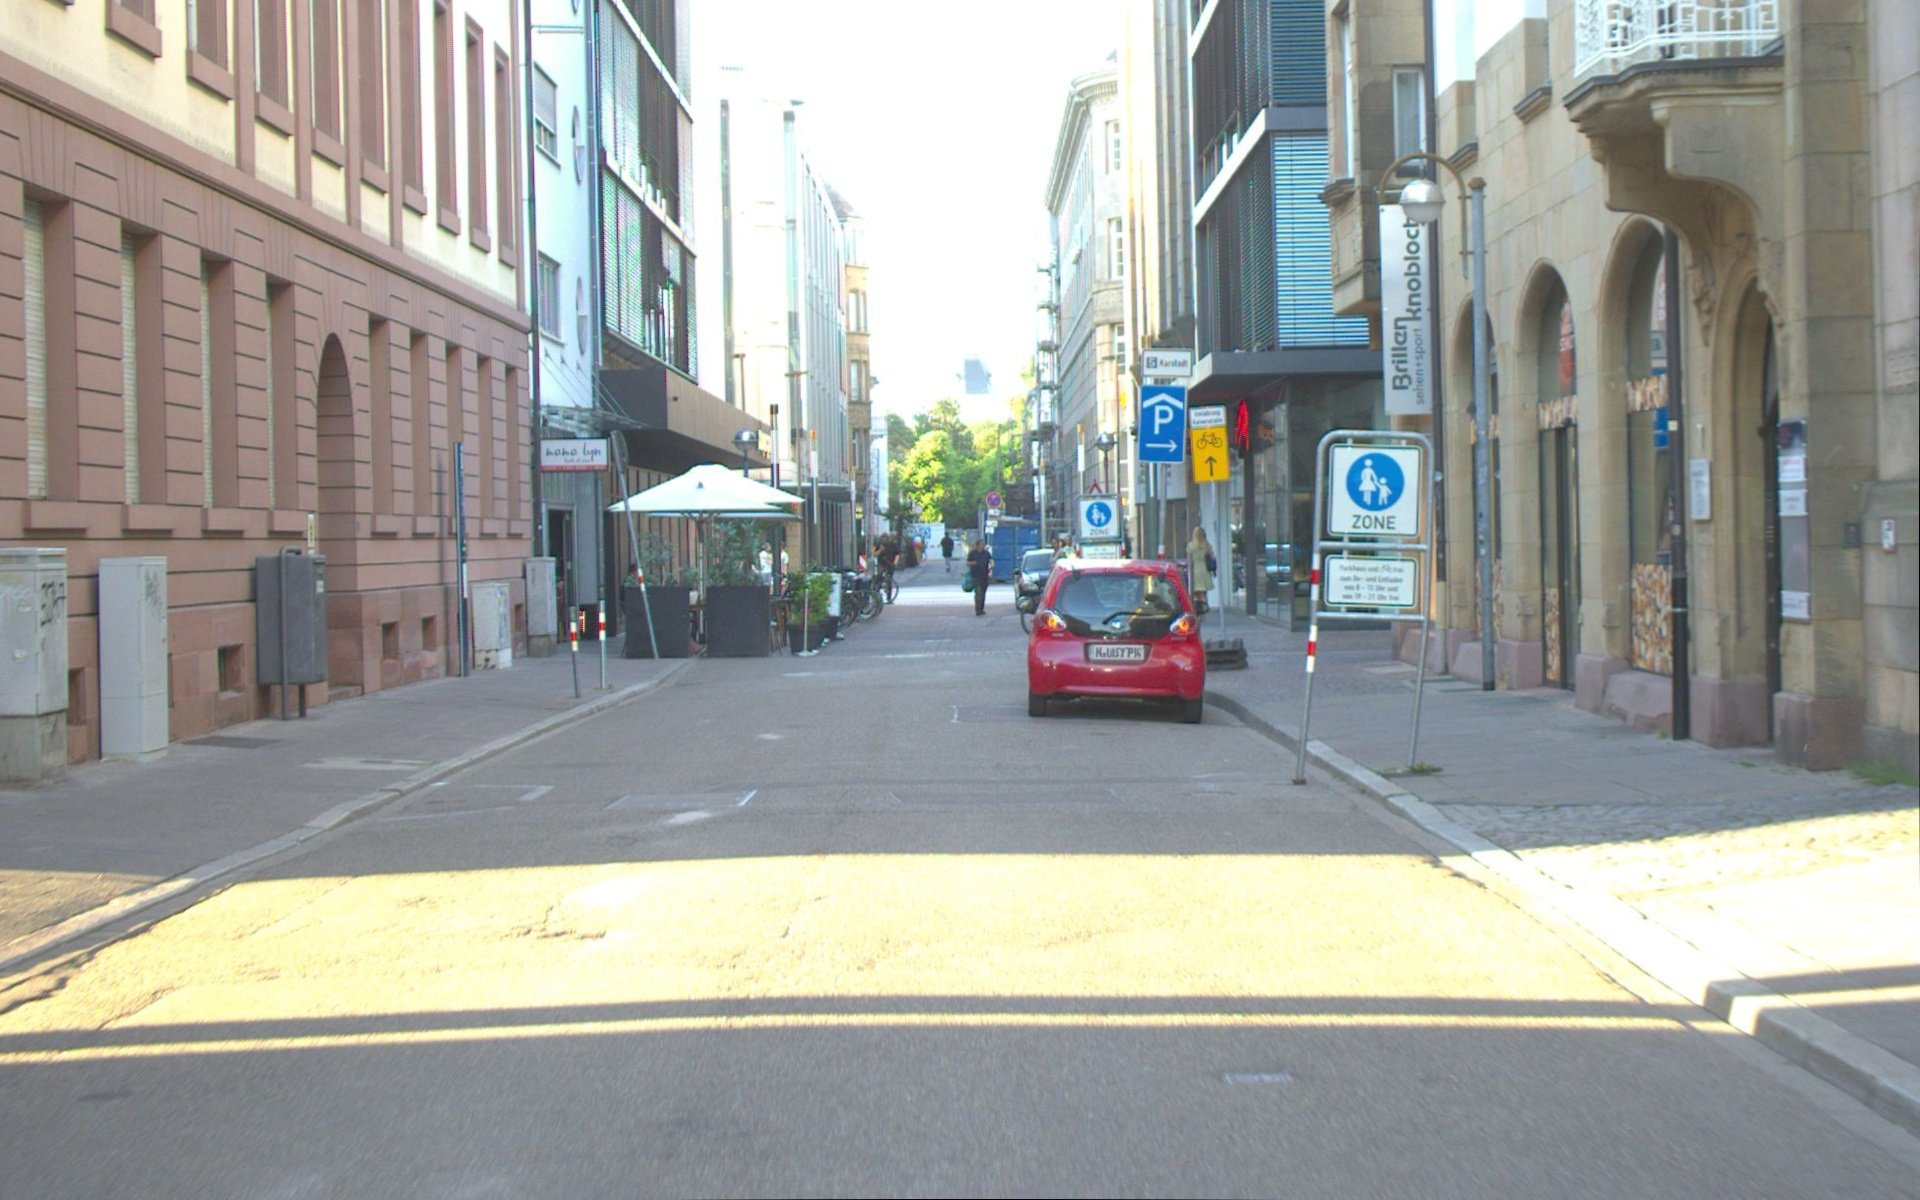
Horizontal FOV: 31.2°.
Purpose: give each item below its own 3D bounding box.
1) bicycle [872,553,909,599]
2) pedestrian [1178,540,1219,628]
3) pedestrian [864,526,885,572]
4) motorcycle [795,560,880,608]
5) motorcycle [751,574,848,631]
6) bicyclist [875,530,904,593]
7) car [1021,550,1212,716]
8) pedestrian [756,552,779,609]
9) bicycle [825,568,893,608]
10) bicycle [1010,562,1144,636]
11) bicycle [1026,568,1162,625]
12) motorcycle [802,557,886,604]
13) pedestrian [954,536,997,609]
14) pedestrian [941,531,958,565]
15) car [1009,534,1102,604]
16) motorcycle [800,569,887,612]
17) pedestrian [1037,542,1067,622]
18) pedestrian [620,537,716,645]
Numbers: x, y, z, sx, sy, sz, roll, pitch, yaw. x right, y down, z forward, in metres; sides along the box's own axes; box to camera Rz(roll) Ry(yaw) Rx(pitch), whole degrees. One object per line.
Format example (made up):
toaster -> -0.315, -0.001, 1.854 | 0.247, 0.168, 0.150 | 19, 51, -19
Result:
bicycle -> -1.821, -0.635, 89.520 | 0.636, 1.153, 2.502 | -1, 1, -8
pedestrian -> 4.037, -0.272, 58.280 | 0.656, 1.482, 0.493 | -1, 1, 2
pedestrian -> -3.071, -1.832, 123.233 | 0.678, 1.617, 0.625 | -1, 1, 2
motorcycle -> -2.615, -0.345, 73.395 | 1.801, 0.986, 0.560 | -1, 1, -4
motorcycle -> -3.006, 0.044, 64.299 | 1.801, 1.037, 0.494 | -1, 1, -4
bicyclist -> -1.836, -0.998, 89.602 | 0.636, 1.635, 0.772 | -1, 1, -9
car -> 1.432, 0.271, 32.493 | 1.649, 1.422, 3.535 | 2, 1, 1
pedestrian -> -5.599, -0.570, 99.944 | 0.603, 1.617, 0.529 | -1, 1, -10
bicycle -> -2.335, -0.287, 79.556 | 1.518, 0.893, 0.485 | -1, 1, -27
bicycle -> 1.840, -0.017, 54.291 | 2.052, 1.130, 0.649 | -1, 1, -3
bicycle -> 2.222, -0.057, 57.038 | 2.200, 0.902, 0.649 | -1, 1, -3
motorcycle -> -2.541, -0.425, 75.039 | 1.801, 0.986, 0.560 | -1, 1, -4
pedestrian -> 0.365, -0.658, 81.290 | 0.865, 1.707, 0.852 | -1, 1, -8
pedestrian -> -0.519, -2.591, 170.819 | 0.804, 1.667, 0.888 | -1, 1, 2
car -> 2.252, -0.750, 81.838 | 1.993, 1.605, 4.000 | -1, 1, -1
motorcycle -> -2.454, -0.194, 72.372 | 1.801, 0.872, 0.560 | -1, 1, -4
pedestrian -> 1.859, -0.365, 69.616 | 0.465, 1.614, 0.635 | -1, 1, -11
pedestrian -> -4.098, -0.131, 48.275 | 1.290, 1.482, 0.661 | -1, 1, -2
